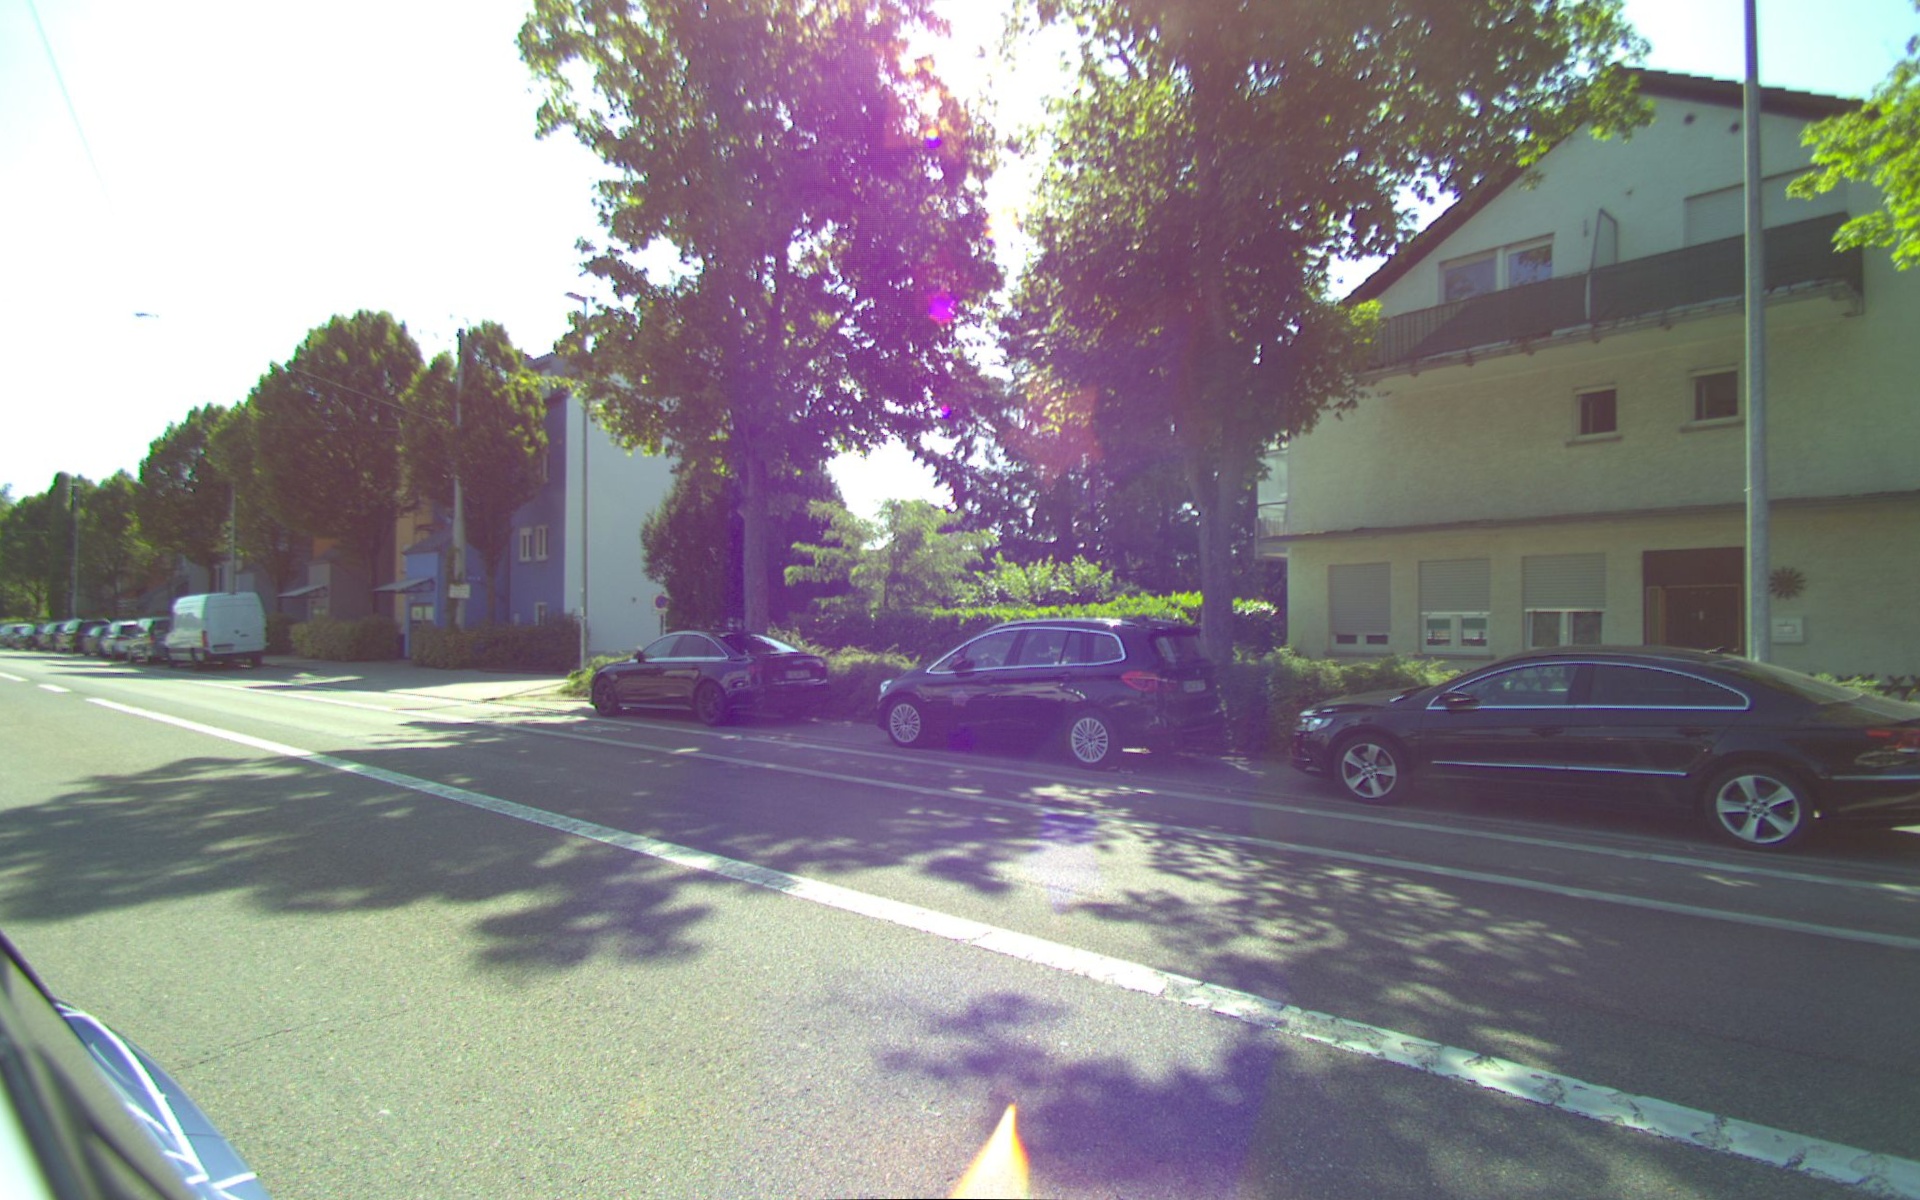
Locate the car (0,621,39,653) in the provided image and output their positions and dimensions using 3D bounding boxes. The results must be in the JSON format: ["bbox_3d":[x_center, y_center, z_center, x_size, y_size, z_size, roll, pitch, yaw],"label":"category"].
[{"bbox_3d":[-60.271,2.360,64.206,4.766,1.818,1.974,-2,4,41],"label":"car"}]

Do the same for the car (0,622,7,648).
[{"bbox_3d":[-68.745,2.548,71.106,4.766,1.818,1.974,-2,4,41],"label":"car"}]

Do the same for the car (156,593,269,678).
[{"bbox_3d":[-27.374,1.242,36.963,6.213,2.713,1.973,-2,4,43],"label":"car"}]

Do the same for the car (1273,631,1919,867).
[{"bbox_3d":[5.217,1.013,8.448,4.619,1.426,1.844,-1,0,41],"label":"car"}]

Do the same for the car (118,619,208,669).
[{"bbox_3d":[-33.520,1.814,42.512,4.766,1.818,1.974,-2,4,41],"label":"car"}]

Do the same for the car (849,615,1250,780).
[{"bbox_3d":[0.924,1.019,12.246,4.619,1.583,1.844,-1,0,41],"label":"car"}]

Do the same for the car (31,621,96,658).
[{"bbox_3d":[-50.231,2.196,56.688,4.766,1.818,1.974,-2,4,41],"label":"car"}]

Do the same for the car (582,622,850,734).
[{"bbox_3d":[-4.084,1.157,16.520,4.616,1.583,1.845,-1,-2,39],"label":"car"}]

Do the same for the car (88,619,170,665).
[{"bbox_3d":[-38.058,1.880,46.329,4.766,1.818,1.974,-2,4,41],"label":"car"}]

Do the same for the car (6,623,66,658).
[{"bbox_3d":[-54.908,2.381,60.109,4.766,1.818,1.974,-2,4,41],"label":"car"}]

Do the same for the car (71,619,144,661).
[{"bbox_3d":[-42.128,1.954,50.003,4.254,1.818,1.974,-2,4,41],"label":"car"}]

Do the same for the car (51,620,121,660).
[{"bbox_3d":[-45.849,2.081,53.045,4.766,1.818,1.974,-2,4,41],"label":"car"}]
